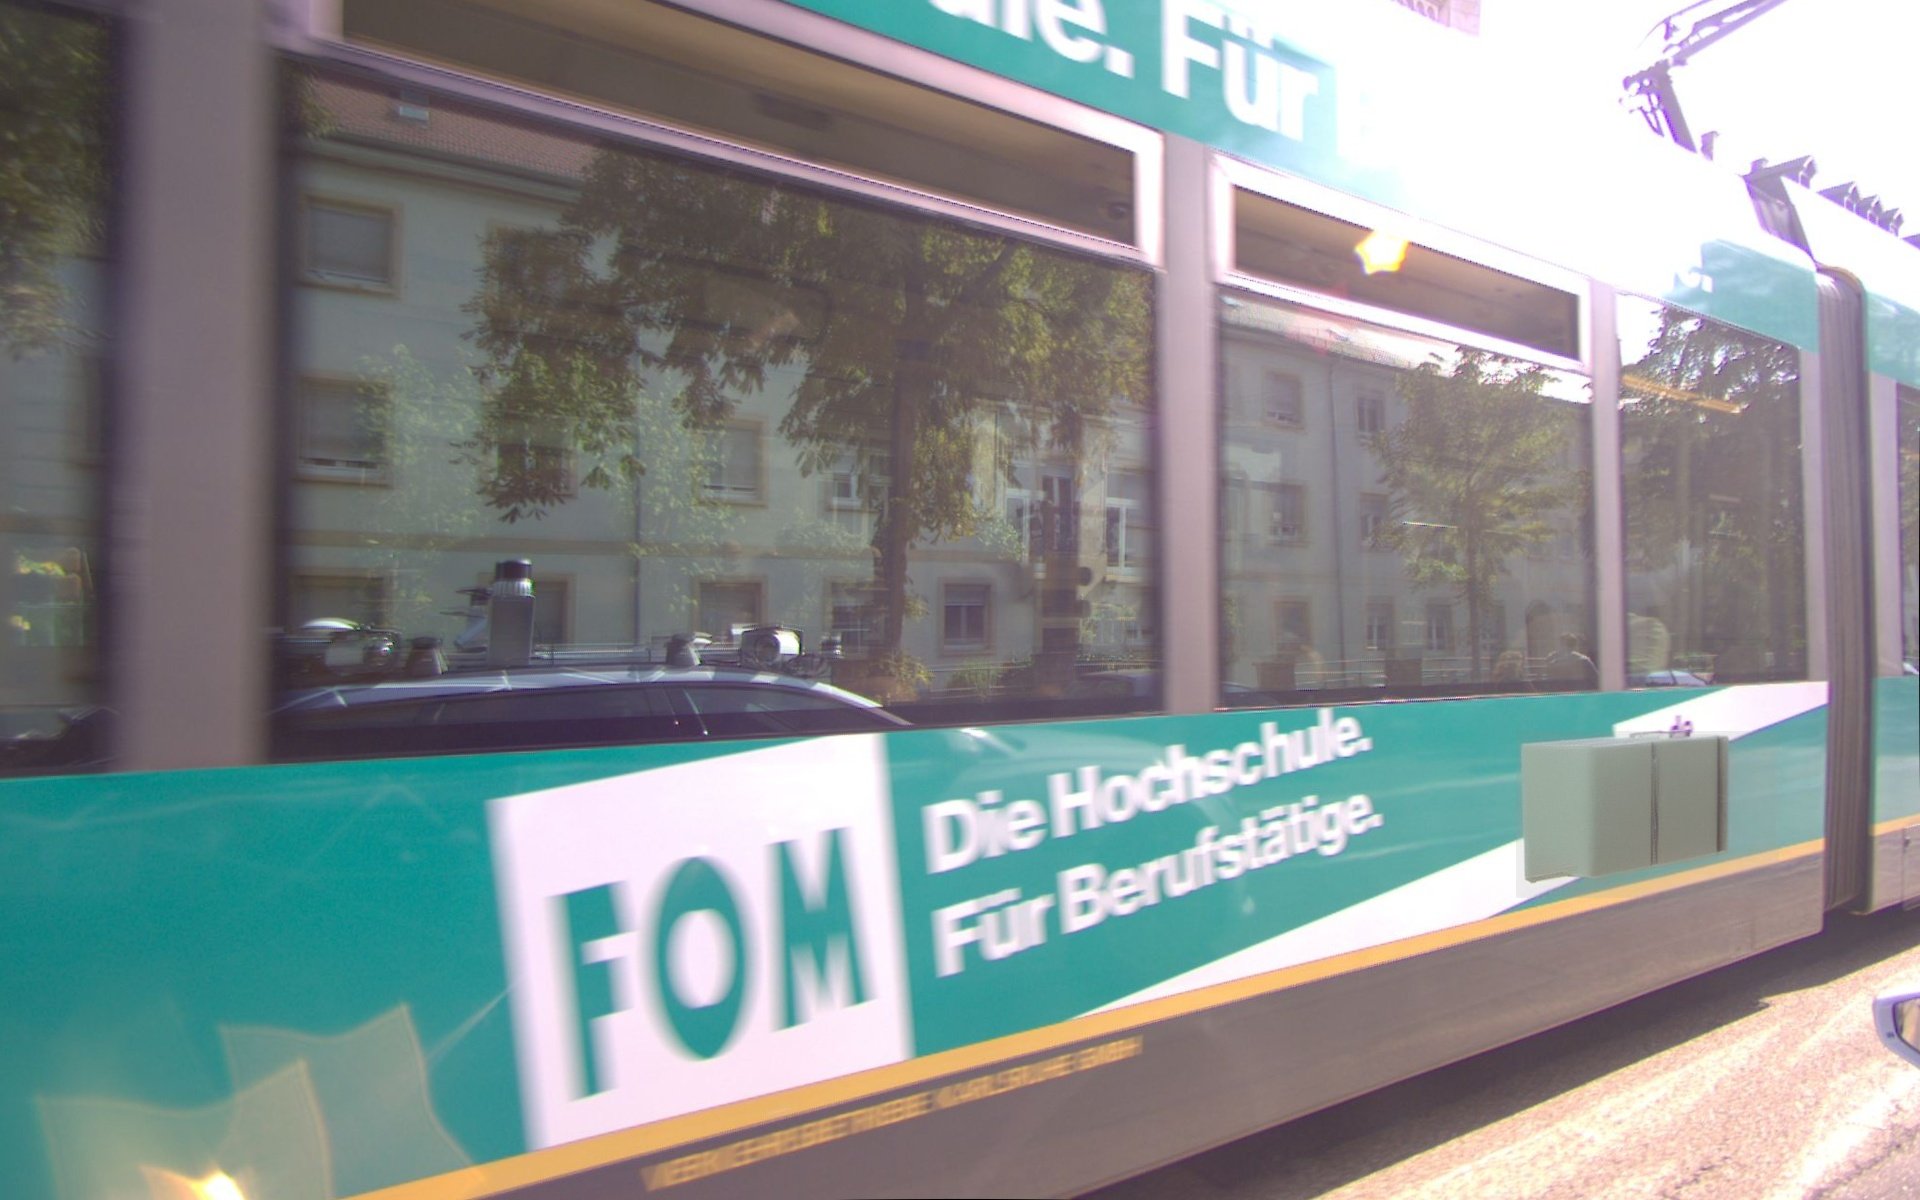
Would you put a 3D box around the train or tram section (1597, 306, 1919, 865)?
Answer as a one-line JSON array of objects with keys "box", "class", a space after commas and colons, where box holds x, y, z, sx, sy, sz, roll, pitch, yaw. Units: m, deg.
[{"box": [10.380, -0.015, 9.635, 10.653, 3.552, 2.720, 1, 1, -31], "class": "train or tram section"}]

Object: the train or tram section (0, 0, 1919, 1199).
[{"box": [-0.806, -0.327, 2.779, 15.256, 3.552, 2.720, 1, 1, -31], "class": "train or tram section"}]
